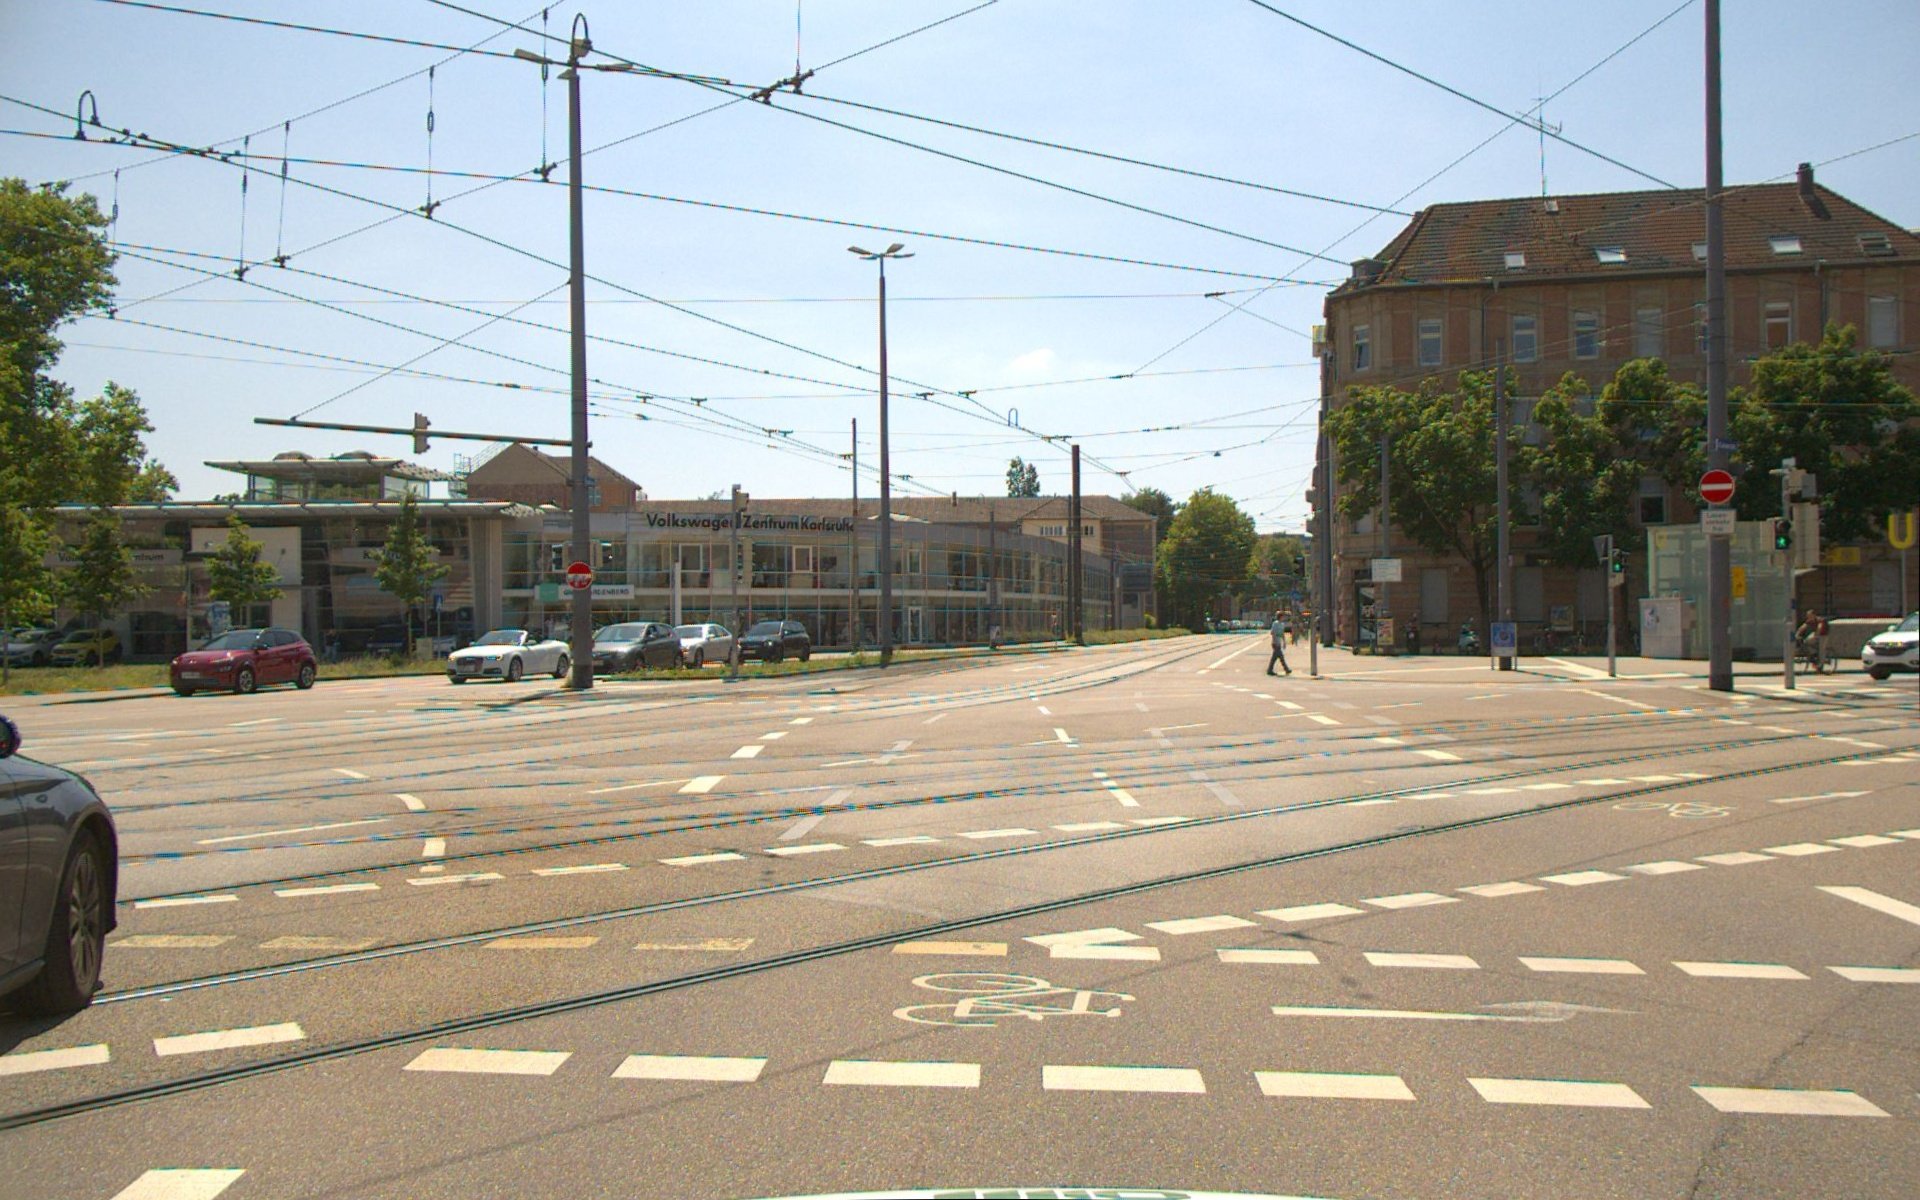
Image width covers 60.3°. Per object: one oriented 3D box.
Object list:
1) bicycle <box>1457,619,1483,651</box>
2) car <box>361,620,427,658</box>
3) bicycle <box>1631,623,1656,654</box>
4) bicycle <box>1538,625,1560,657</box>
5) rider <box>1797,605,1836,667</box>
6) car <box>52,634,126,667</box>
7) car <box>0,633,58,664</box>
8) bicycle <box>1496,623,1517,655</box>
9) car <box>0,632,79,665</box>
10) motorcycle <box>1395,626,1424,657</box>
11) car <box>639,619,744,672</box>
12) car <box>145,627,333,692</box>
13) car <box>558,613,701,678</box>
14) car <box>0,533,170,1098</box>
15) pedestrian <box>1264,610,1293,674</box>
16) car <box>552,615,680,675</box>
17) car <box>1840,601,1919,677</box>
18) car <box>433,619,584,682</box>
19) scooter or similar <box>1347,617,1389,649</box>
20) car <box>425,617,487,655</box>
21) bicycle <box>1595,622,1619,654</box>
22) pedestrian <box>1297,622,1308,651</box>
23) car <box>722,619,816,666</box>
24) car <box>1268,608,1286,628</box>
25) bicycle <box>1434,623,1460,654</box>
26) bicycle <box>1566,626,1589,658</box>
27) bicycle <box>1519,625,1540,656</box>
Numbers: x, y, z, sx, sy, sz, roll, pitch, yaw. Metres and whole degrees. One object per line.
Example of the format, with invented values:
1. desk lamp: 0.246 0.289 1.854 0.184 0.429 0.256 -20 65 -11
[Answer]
1. bicycle: 18.958 1.314 61.496 0.433 1.166 2.094 1 -2 4
2. car: -27.300 1.886 79.861 1.882 1.737 3.997 1 -2 -2
3. bicycle: 25.182 1.418 60.995 0.539 1.139 1.822 -1 -1 13
4. bicycle: 21.643 1.493 60.791 0.539 1.139 1.890 -1 -1 13
5. rider: 22.895 0.948 44.217 0.865 1.629 0.557 0 -1 -35
6. car: -42.140 2.425 80.124 1.733 1.536 4.319 0 -1 -7
7. car: -49.202 2.518 85.504 4.283 1.536 1.748 0 -1 -38
8. bicycle: 20.193 1.425 61.121 0.539 1.139 1.822 -1 -1 13
9. car: -44.784 2.324 80.423 1.731 1.536 4.324 -1 -1 -2
10. motorcycle: 16.669 1.535 61.413 0.568 1.093 1.946 -1 -1 1
11. car: -9.223 1.547 57.236 1.951 1.770 4.546 -1 -1 14
12. car: -17.951 1.454 41.460 1.951 1.491 4.850 -1 -1 10
13. car: -8.964 1.204 45.297 1.951 1.666 4.850 -1 -1 14
14. car: -3.562 0.615 4.097 1.766 1.669 4.790 1 -1 -12
15. pedestrian: 8.778 1.153 45.623 0.457 1.738 0.632 0 -1 -36
16. car: -10.535 1.350 51.039 1.951 1.730 4.850 -1 -1 14
17. car: 21.948 0.853 37.309 4.130 1.633 1.679 0 -1 -27
18. car: -12.129 1.321 44.803 2.032 1.608 4.850 -1 -1 10
19. scooter or similar: 15.824 1.283 64.152 1.772 1.202 0.592 0 -1 -36
20. car: -24.386 1.761 80.106 1.882 1.737 3.997 1 -2 -2
21. bicycle: 23.973 1.403 61.325 0.539 1.139 1.931 -1 -1 13
22. pedestrian: 24.814 2.624 119.795 0.751 2.049 0.664 1 -2 9
23. car: -7.331 1.622 64.029 2.034 1.712 4.850 -1 -1 14
24. car: 36.417 2.077 189.957 1.951 2.219 4.372 1 -2 12
25. bicycle: 18.061 1.429 61.364 0.539 1.139 1.821 -1 -1 3
26. bicycle: 22.921 1.543 61.374 0.539 1.139 1.872 -1 -1 13
27. bicycle: 20.969 1.482 60.888 0.539 1.139 1.822 -1 -1 13
